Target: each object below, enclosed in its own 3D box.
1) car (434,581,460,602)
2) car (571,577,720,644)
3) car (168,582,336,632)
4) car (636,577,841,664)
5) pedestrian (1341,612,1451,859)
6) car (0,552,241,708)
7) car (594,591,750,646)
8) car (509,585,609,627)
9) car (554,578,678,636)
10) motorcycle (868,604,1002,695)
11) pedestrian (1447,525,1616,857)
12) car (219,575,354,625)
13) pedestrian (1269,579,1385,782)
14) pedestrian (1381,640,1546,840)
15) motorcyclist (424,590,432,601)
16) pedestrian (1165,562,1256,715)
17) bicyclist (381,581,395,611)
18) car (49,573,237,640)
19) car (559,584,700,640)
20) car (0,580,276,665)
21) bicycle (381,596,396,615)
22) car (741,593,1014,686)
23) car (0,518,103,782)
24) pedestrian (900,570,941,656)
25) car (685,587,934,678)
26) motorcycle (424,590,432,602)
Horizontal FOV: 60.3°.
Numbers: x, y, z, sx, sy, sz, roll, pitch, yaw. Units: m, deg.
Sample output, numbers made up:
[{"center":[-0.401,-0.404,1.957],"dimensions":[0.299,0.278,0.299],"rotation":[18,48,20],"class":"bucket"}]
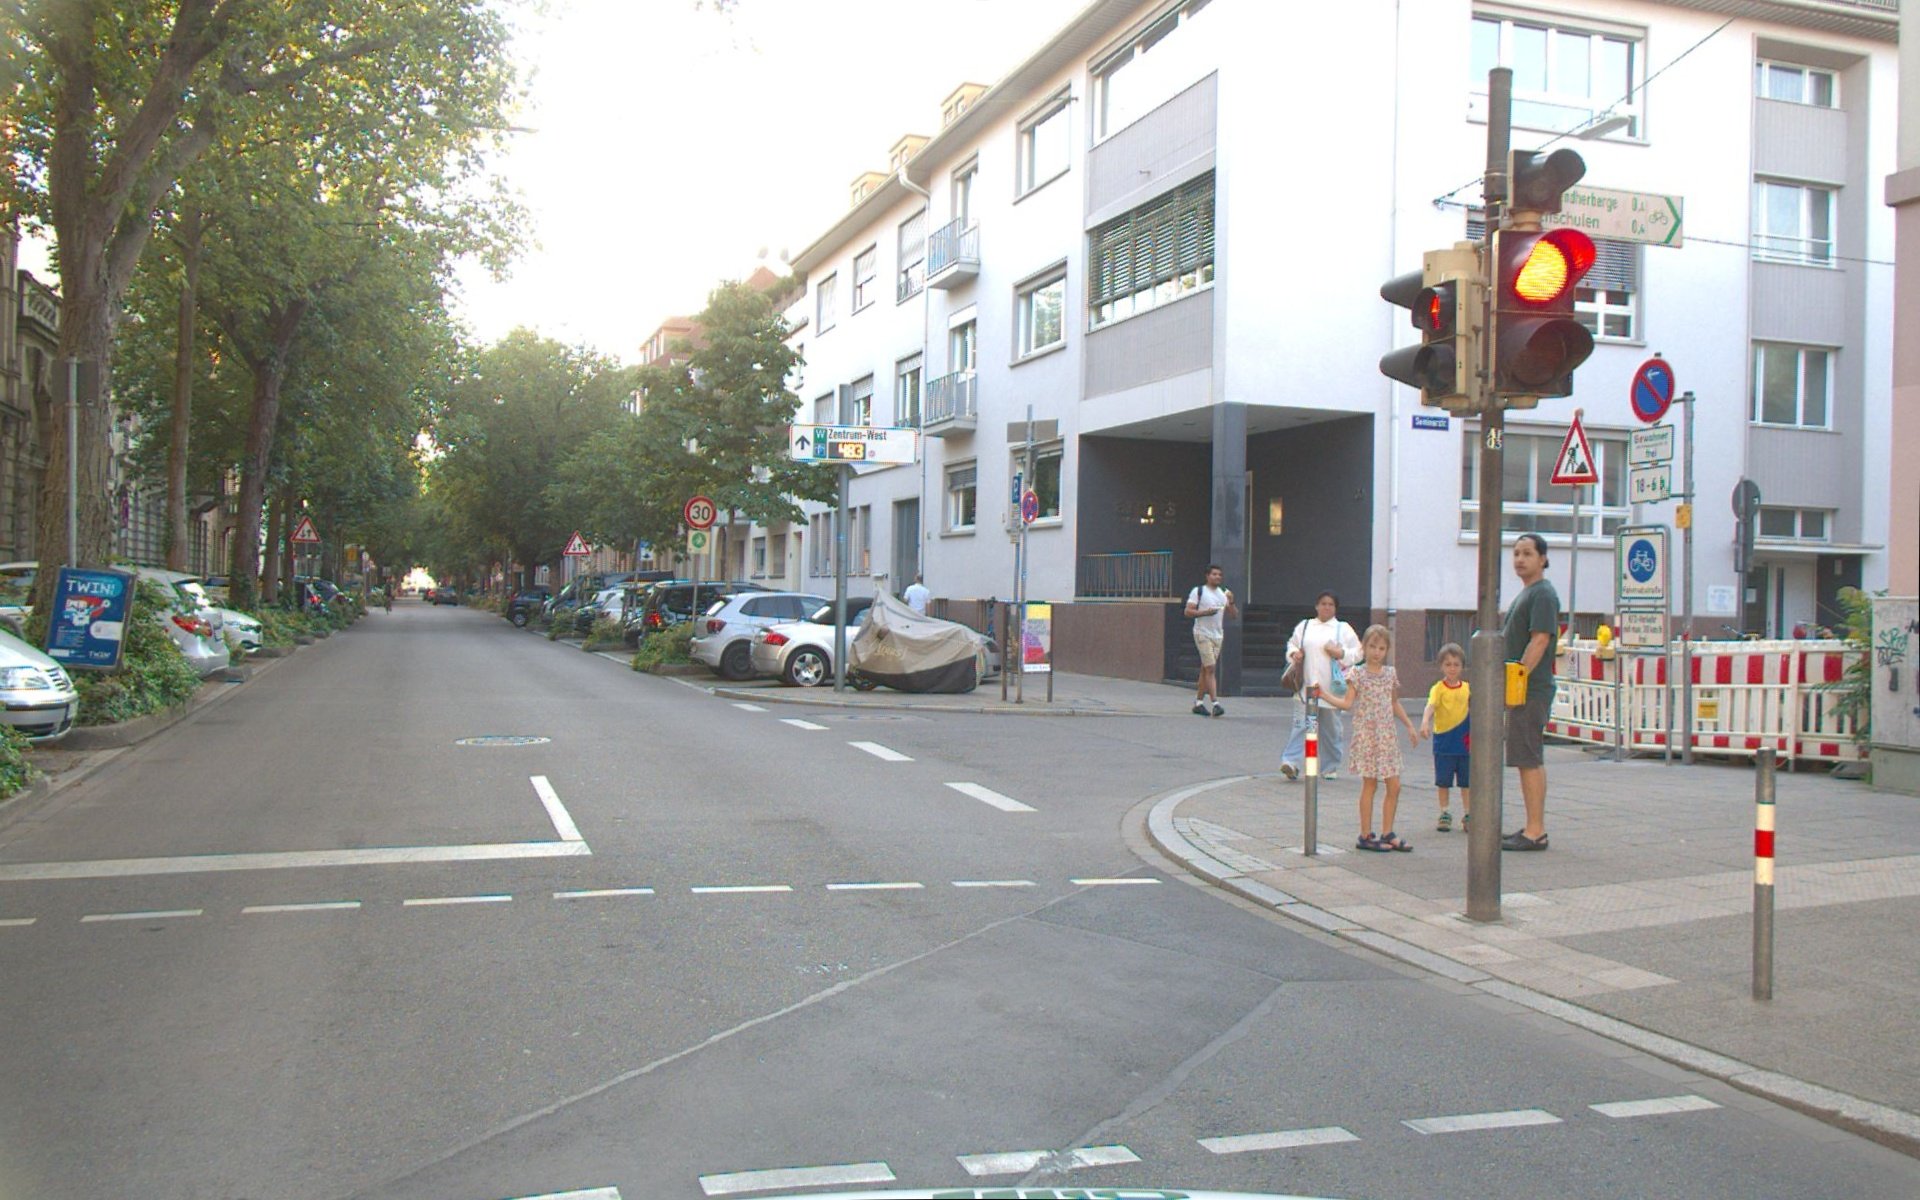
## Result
[{"center":[-41.185,-0.701,132.722],"dimensions":[1.798,1.589,4.005],"rotation":[2,0,-19],"class":"car"},{"center":[-8.904,0.299,46.830],"dimensions":[3.953,1.847,1.698],"rotation":[0,0,-19],"class":"car"},{"center":[-21.302,0.209,49.975],"dimensions":[4.477,1.434,1.824],"rotation":[1,0,-18],"class":"car"},{"center":[-4.575,0.420,34.102],"dimensions":[3.953,1.720,1.698],"rotation":[0,0,-19],"class":"car"},{"center":[2.505,0.761,9.537],"dimensions":[0.494,1.359,0.541],"rotation":[1,0,4],"class":"pedestrian"},{"center":[-10.837,0.323,19.067],"dimensions":[4.477,1.718,1.824],"rotation":[1,0,-18],"class":"car"},{"center":[-7.814,0.495,44.847],"dimensions":[3.953,1.434,1.698],"rotation":[0,0,-19],"class":"car"},{"center":[-16.539,0.254,68.385],"dimensions":[3.909,1.605,1.904],"rotation":[2,-1,-13],"class":"car"},{"center":[-11.778,0.231,56.573],"dimensions":[3.953,1.862,1.698],"rotation":[1,0,-19],"class":"car"},{"center":[-0.350,0.673,22.695],"dimensions":[1.767,1.220,0.611],"rotation":[1,0,-10],"class":"motorcycle"},{"center":[3.329,0.489,9.713],"dimensions":[0.869,1.847,0.794],"rotation":[1,2,16],"class":"pedestrian"},{"center":[-25.013,0.012,61.550],"dimensions":[4.477,1.721,1.824],"rotation":[1,0,-18],"class":"car"},{"center":[2.891,0.606,13.001],"dimensions":[0.758,1.527,0.801],"rotation":[0,0,23],"class":"pedestrian"},{"center":[3.117,0.838,10.272],"dimensions":[0.559,1.140,0.829],"rotation":[0,1,-29],"class":"pedestrian"},{"center":[-60.872,-0.485,189.187],"dimensions":[0.806,1.258,0.846],"rotation":[2,-1,-19],"class":"motorcyclist"},{"center":[3.143,0.475,20.776],"dimensions":[0.755,1.873,0.939],"rotation":[2,0,-18],"class":"pedestrian"},{"center":[-29.068,-0.209,84.074],"dimensions":[0.564,1.495,0.638],"rotation":[2,-1,-24],"class":"bicyclist"},{"center":[-20.466,0.173,41.602],"dimensions":[3.976,1.618,1.824],"rotation":[1,0,-18],"class":"car"},{"center":[-9.902,0.353,49.485],"dimensions":[3.953,1.557,1.698],"rotation":[1,0,-19],"class":"car"},{"center":[-14.380,0.384,28.673],"dimensions":[4.477,1.396,1.824],"rotation":[1,0,-18],"class":"car"},{"center":[-29.066,0.277,84.113],"dimensions":[0.564,0.966,1.731],"rotation":[2,-1,-24],"class":"bicycle"},{"center":[-1.302,0.588,25.732],"dimensions":[3.952,1.366,1.698],"rotation":[0,0,-18],"class":"car"},{"center":[-8.800,0.323,11.867],"dimensions":[4.483,1.867,1.821],"rotation":[1,0,-22],"class":"car"},{"center":[-0.844,0.275,34.952],"dimensions":[0.692,1.782,0.697],"rotation":[2,0,-14],"class":"pedestrian"},{"center":[-2.565,0.531,28.056],"dimensions":[3.953,1.467,1.698],"rotation":[0,0,-19],"class":"car"},{"center":[-60.904,-0.480,189.279],"dimensions":[0.806,1.258,2.014],"rotation":[2,0,-18],"class":"motorcycle"}]
